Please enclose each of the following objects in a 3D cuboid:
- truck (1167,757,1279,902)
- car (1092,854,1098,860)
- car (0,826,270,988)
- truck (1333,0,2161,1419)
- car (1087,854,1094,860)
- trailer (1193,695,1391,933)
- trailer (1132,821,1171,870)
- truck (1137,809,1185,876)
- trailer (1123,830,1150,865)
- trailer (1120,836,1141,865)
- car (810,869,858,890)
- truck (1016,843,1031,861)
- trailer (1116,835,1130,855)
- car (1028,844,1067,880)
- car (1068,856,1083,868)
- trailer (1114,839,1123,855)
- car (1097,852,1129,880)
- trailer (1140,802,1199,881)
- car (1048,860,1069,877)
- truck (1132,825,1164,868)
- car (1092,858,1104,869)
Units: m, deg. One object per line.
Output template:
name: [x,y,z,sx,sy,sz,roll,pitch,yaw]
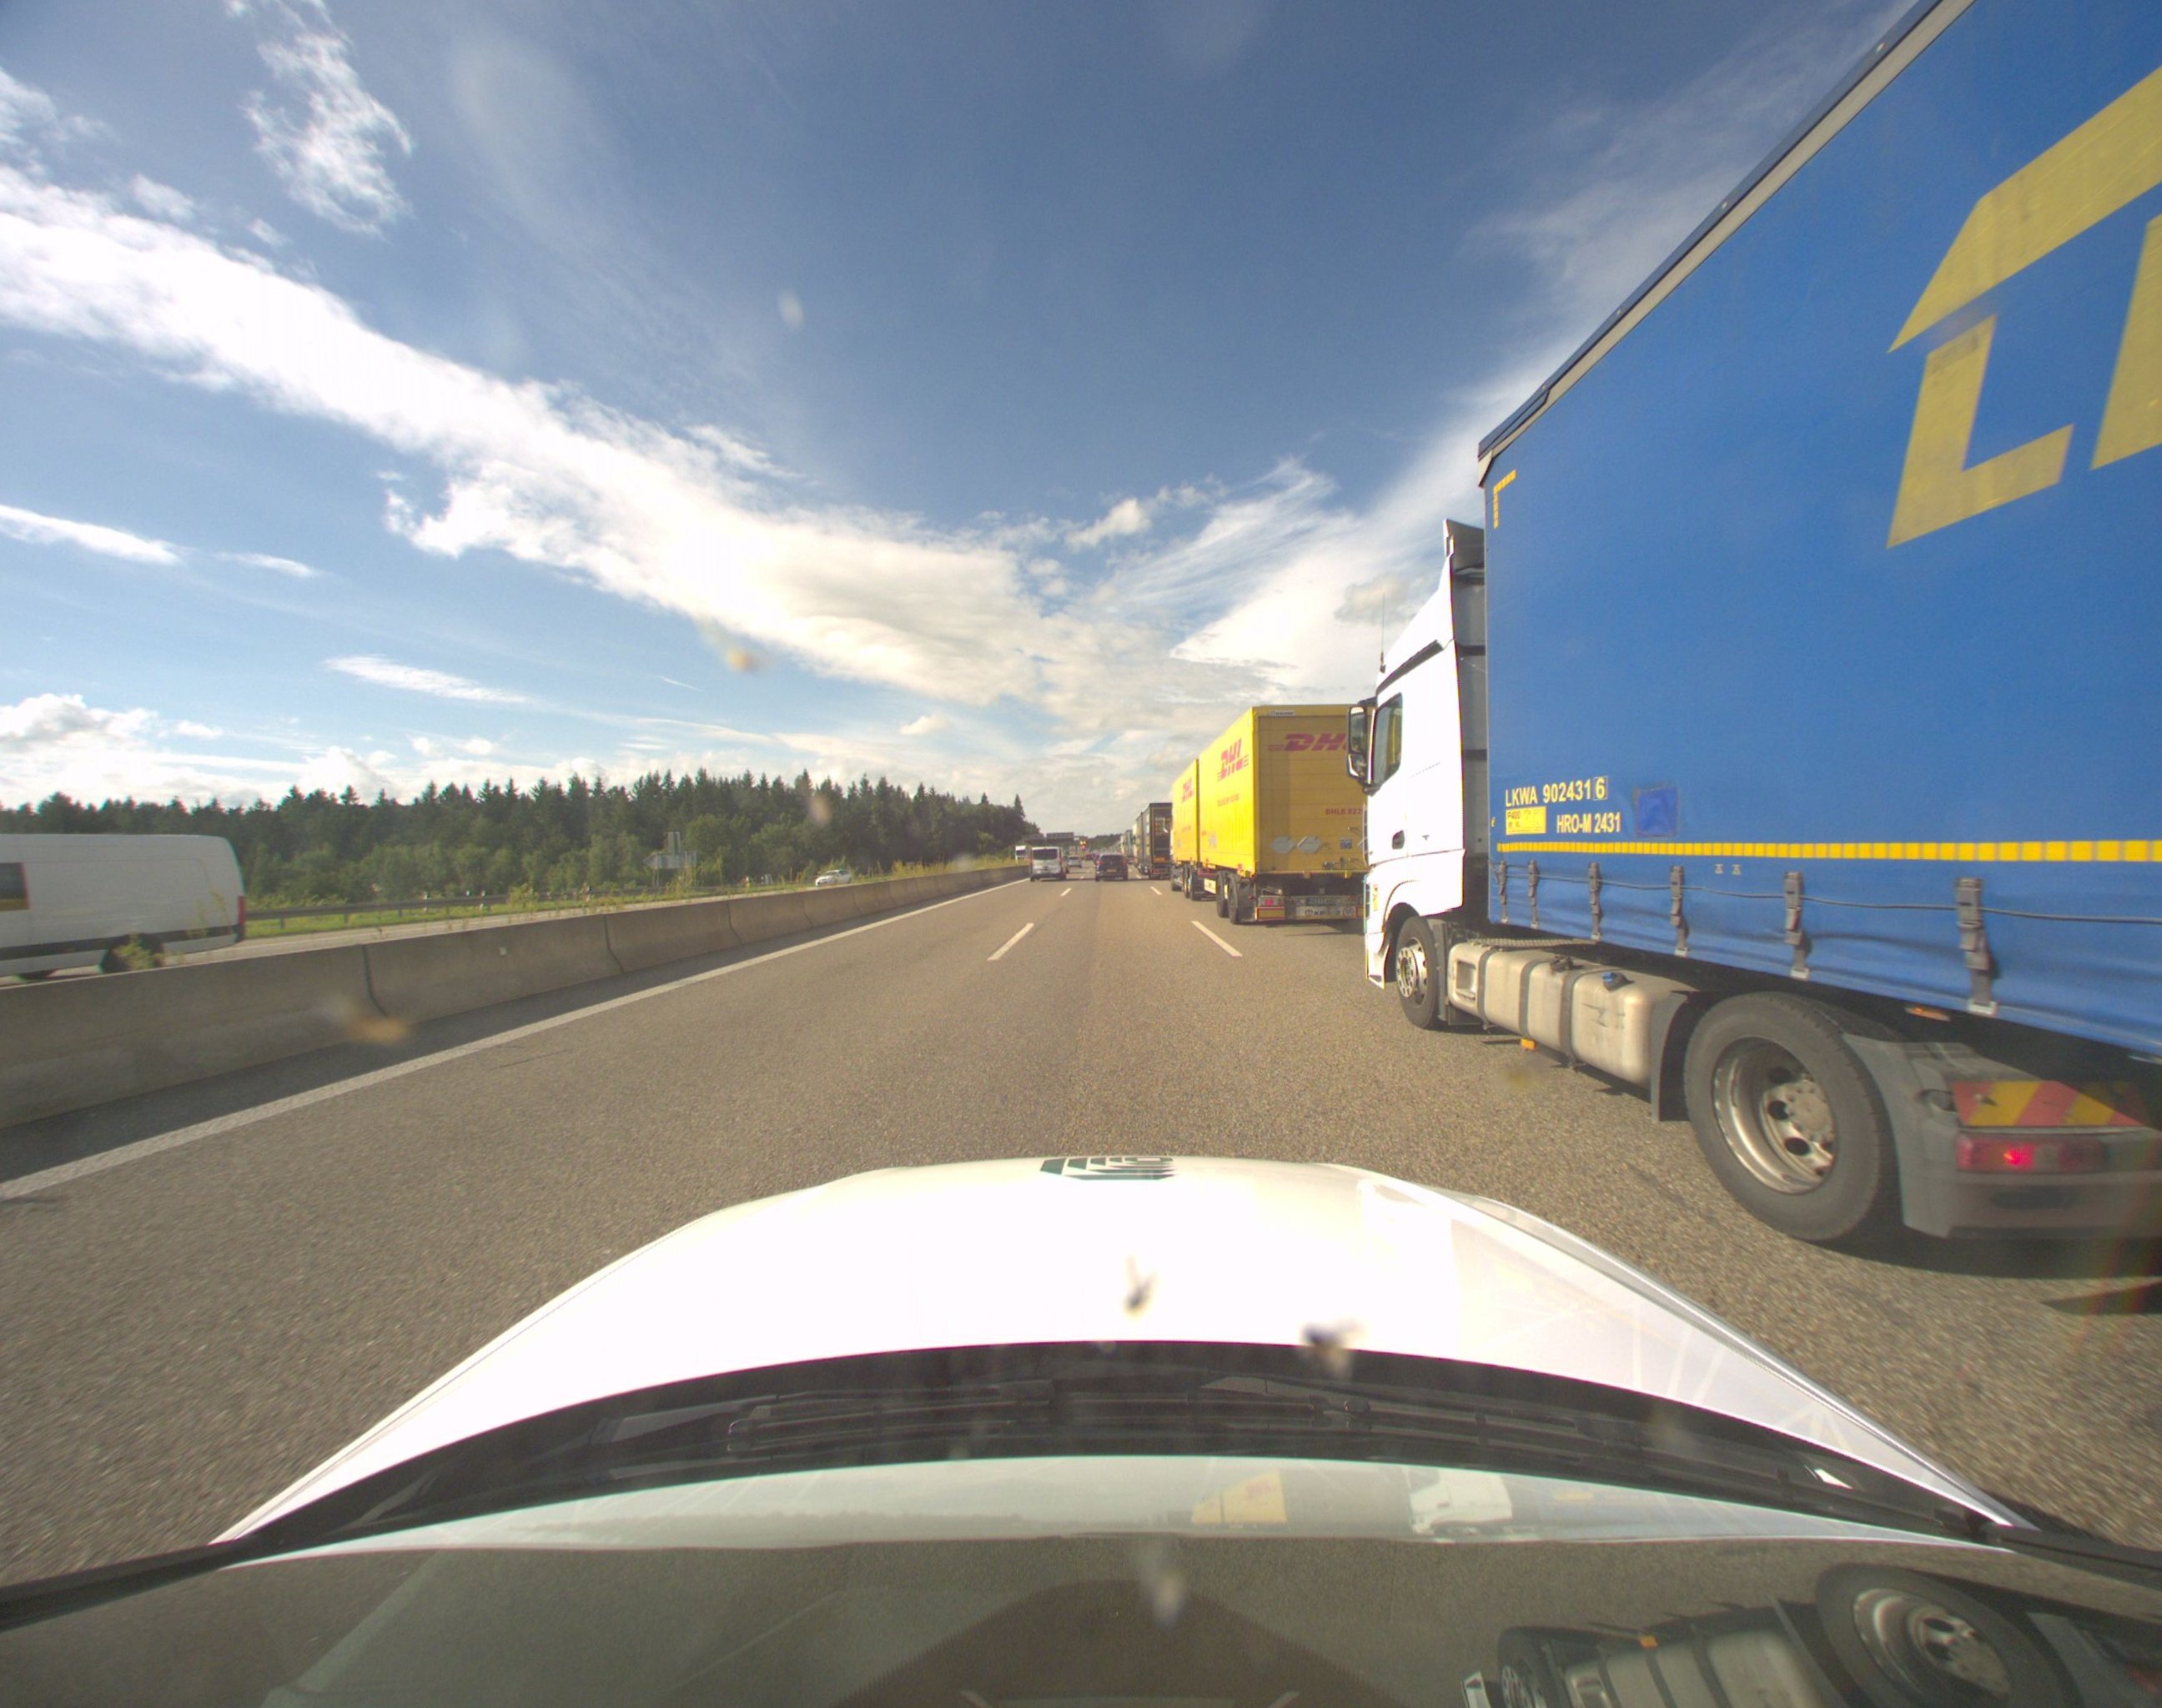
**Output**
truck: [4.505,-0.684,27.718,2.403,4.068,9.668,0,0,2]
car: [3.570,0.747,205.353,1.429,1.310,3.534,0,0,1]
car: [-18.156,0.846,13.441,2.026,2.578,7.324,0,0,2]
truck: [3.905,-0.605,5.317,2.639,4.089,6.493,0,0,1]
car: [1.918,0.660,168.154,1.429,1.310,3.534,0,0,1]
trailer: [4.227,-0.682,18.407,2.403,4.068,8.930,0,0,2]
trailer: [6.180,-0.682,73.073,2.780,3.939,13.078,-2,0,3]
truck: [5.210,-0.657,54.569,2.730,4.038,10.209,0,0,3]
trailer: [6.644,-0.731,99.395,2.651,3.869,13.401,-3,0,2]
trailer: [7.501,-0.533,124.964,2.692,4.081,12.950,-4,0,2]
car: [-23.111,2.368,76.300,1.979,1.800,4.996,0,0,15]
truck: [-12.987,-0.485,184.040,2.809,3.976,5.834,-2,0,1]
trailer: [9.729,-1.952,189.695,2.791,4.244,11.064,-4,0,3]
car: [-1.901,0.466,48.181,1.925,1.979,5.100,0,0,2]
car: [-0.625,0.917,92.823,1.494,1.396,3.477,0,0,2]
trailer: [9.982,-1.811,218.101,2.141,4.259,8.445,-3,0,3]
car: [1.755,0.653,45.156,1.690,1.483,4.161,0,0,2]
trailer: [4.749,-0.661,45.116,2.705,3.960,8.717,0,0,3]
car: [-1.804,1.161,66.342,1.494,1.396,3.477,0,0,2]
truck: [6.490,-0.727,79.606,2.791,3.939,5.829,-2,0,3]
car: [2.334,1.256,110.466,1.575,1.396,3.208,0,0,1]
